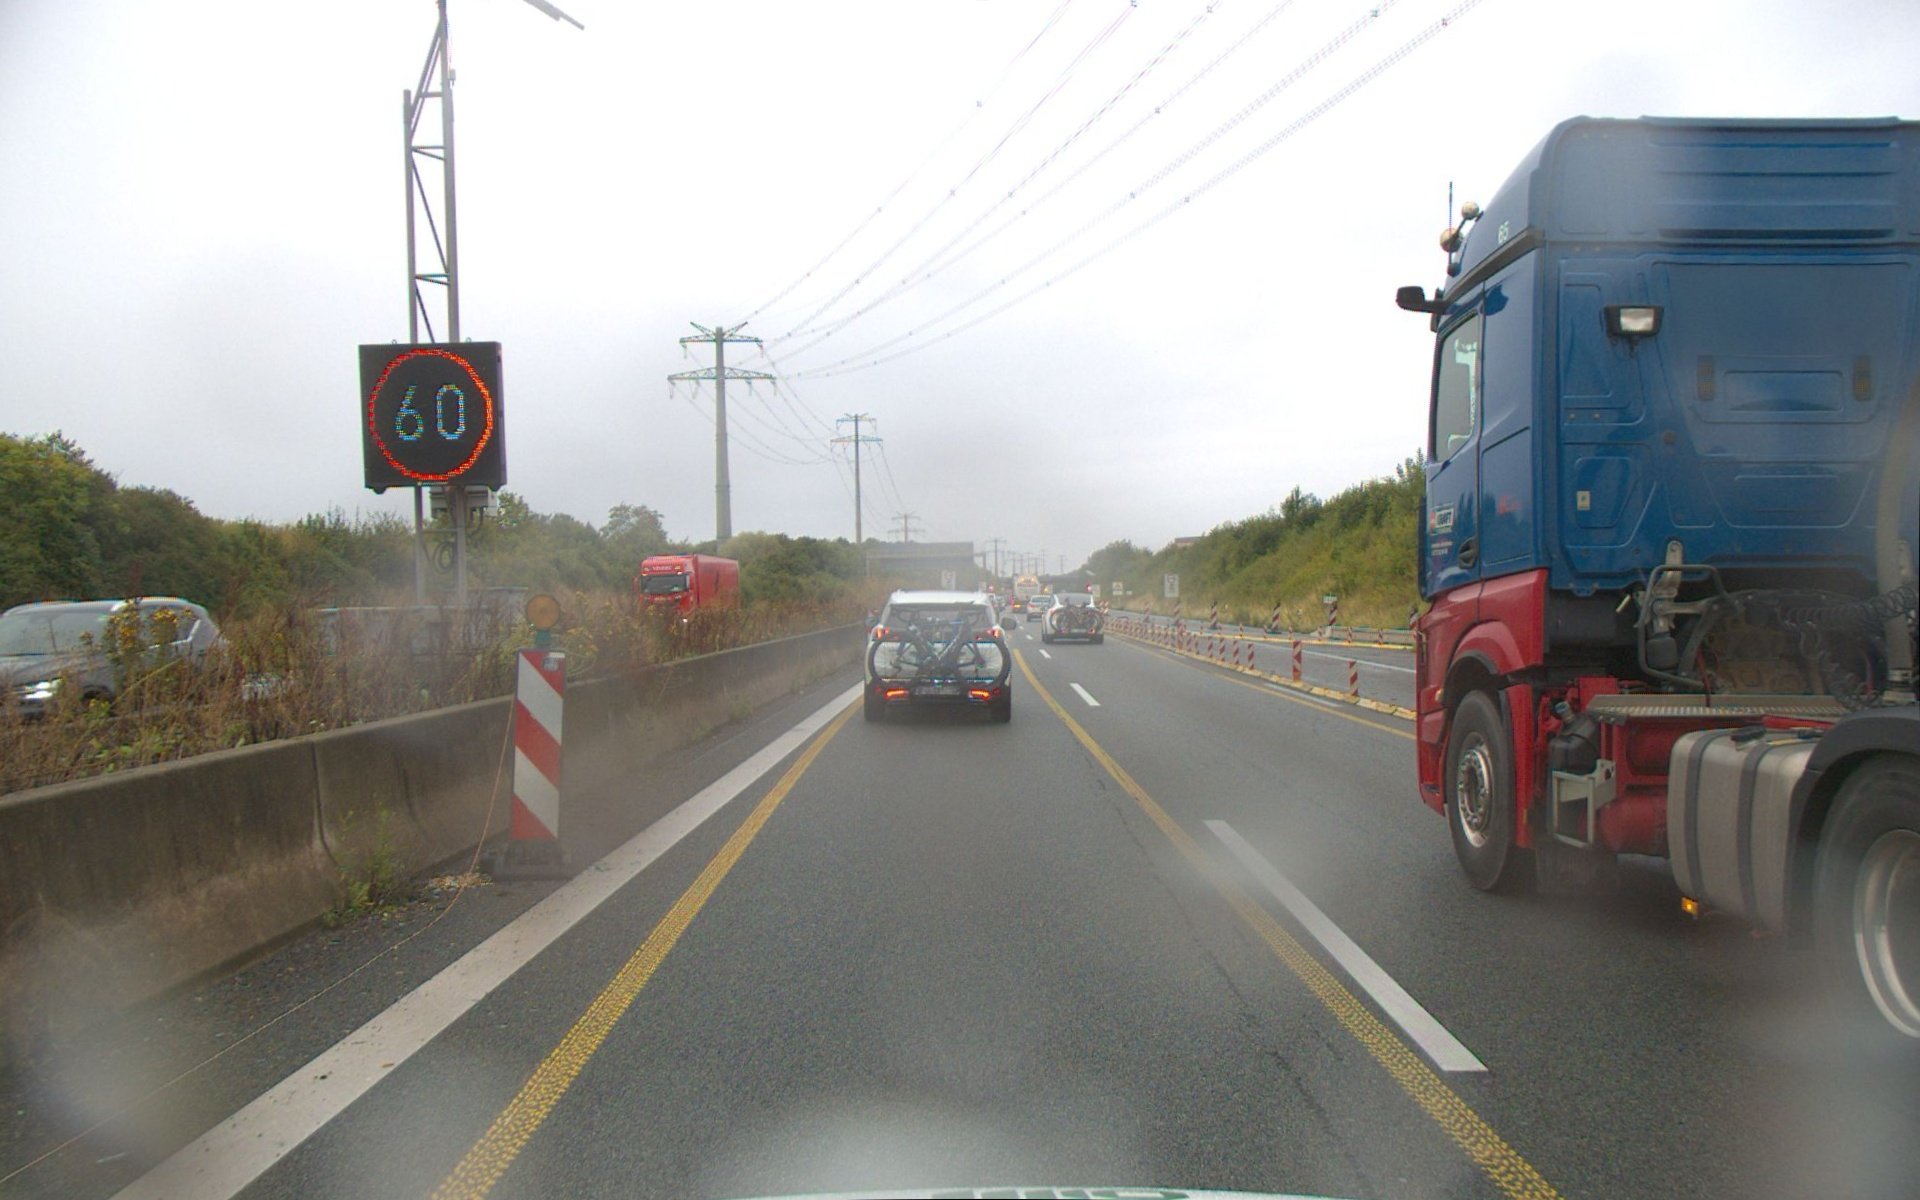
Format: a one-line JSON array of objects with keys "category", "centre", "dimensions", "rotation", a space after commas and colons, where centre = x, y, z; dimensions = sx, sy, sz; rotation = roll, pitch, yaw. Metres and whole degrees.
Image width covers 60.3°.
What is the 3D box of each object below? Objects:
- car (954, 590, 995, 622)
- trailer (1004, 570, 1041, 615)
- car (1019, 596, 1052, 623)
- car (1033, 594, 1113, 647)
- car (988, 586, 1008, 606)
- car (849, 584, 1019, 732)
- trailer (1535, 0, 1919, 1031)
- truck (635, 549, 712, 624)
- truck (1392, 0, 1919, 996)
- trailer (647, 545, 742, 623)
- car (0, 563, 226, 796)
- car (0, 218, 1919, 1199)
[{"category": "car", "centre": [0.724, 0.294, 85.743], "dimensions": [1.953, 1.611, 3.998], "rotation": [0, 0, -2]}, {"category": "trailer", "centre": [5.642, -0.590, 151.732], "dimensions": [2.585, 3.961, 10.538], "rotation": [1, -1, -2]}, {"category": "car", "centre": [4.535, 0.556, 99.681], "dimensions": [1.831, 1.561, 4.197], "rotation": [0, 0, 1]}, {"category": "car", "centre": [3.636, 0.625, 54.339], "dimensions": [2.004, 1.624, 5.799], "rotation": [1, 0, -2]}, {"category": "car", "centre": [4.180, -0.435, 181.587], "dimensions": [1.953, 2.049, 3.998], "rotation": [1, -1, -2]}, {"category": "car", "centre": [-0.281, 0.635, 20.681], "dimensions": [1.889, 1.639, 4.595], "rotation": [0, 0, 0]}, {"category": "trailer", "centre": [3.985, -0.755, 1.507], "dimensions": [2.468, 3.901, 12.348], "rotation": [1, -1, -1]}, {"category": "truck", "centre": [-14.359, -0.641, 83.174], "dimensions": [2.962, 3.593, 4.926], "rotation": [1, -1, 0]}, {"category": "truck", "centre": [3.890, -0.543, 8.053], "dimensions": [2.495, 4.016, 3.999], "rotation": [1, -1, 0]}, {"category": "trailer", "centre": [-14.371, -0.756, 90.703], "dimensions": [2.975, 3.881, 13.976], "rotation": [1, -1, 0]}, {"category": "car", "centre": [-9.245, 0.770, 16.662], "dimensions": [1.954, 2.048, 3.998], "rotation": [-3, 0, -3]}, {"category": "car", "centre": [-0.267, 0.658, 3.054], "dimensions": [1.953, 1.791, 4.000], "rotation": [-1, 0, -1]}]
